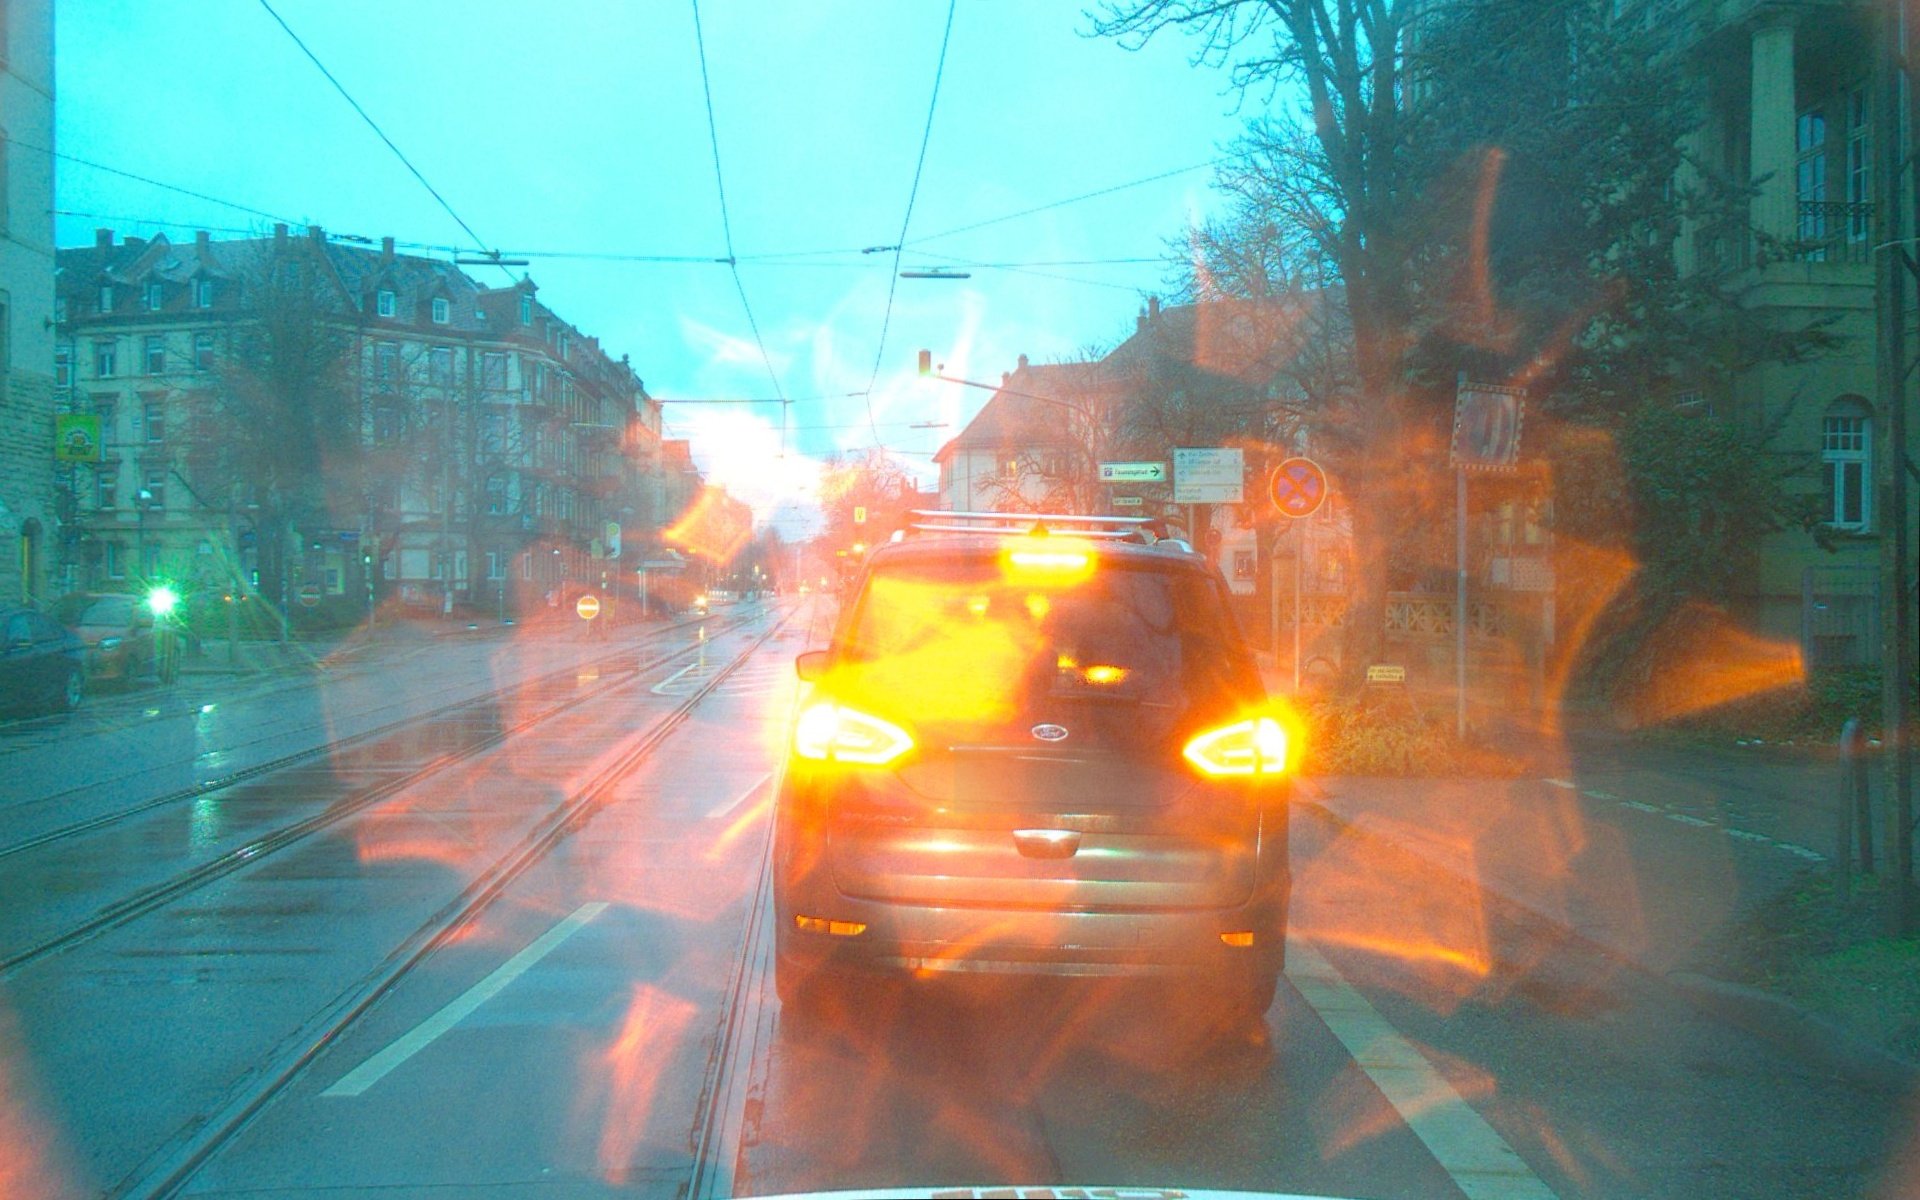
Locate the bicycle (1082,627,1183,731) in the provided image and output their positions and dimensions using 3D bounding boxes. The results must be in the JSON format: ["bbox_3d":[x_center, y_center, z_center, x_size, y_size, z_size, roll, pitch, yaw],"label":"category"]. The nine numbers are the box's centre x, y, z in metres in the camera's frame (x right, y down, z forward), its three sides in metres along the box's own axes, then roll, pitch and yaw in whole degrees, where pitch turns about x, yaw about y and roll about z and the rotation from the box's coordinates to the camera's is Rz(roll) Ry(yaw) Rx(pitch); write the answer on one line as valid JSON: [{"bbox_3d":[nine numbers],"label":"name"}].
[{"bbox_3d":[2.099,0.945,20.363,0.703,1.131,1.938,4,0,-9],"label":"bicycle"}]

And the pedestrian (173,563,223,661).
[{"bbox_3d":[-16.194,0.254,35.135,0.742,2.049,0.646,0,-1,32],"label":"pedestrian"}]

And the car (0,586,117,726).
[{"bbox_3d":[-13.125,0.678,21.835,1.949,1.674,4.624,5,-1,-7],"label":"car"}]

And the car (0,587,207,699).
[{"bbox_3d":[-14.270,0.656,27.637,2.000,1.578,4.023,4,0,-9],"label":"car"}]

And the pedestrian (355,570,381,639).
[{"bbox_3d":[-17.792,0.131,49.693,0.695,2.049,0.656,0,0,-24],"label":"pedestrian"}]

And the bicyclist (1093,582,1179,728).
[{"bbox_3d":[2.140,0.652,20.208,0.703,1.691,1.054,4,0,-9],"label":"bicyclist"}]

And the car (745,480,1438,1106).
[{"bbox_3d":[0.316,0.576,7.338,2.061,1.848,4.658,2,0,-2],"label":"car"}]

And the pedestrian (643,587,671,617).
[{"bbox_3d":[-12.397,0.097,67.762,1.027,1.221,0.884,1,0,-4],"label":"pedestrian"}]
